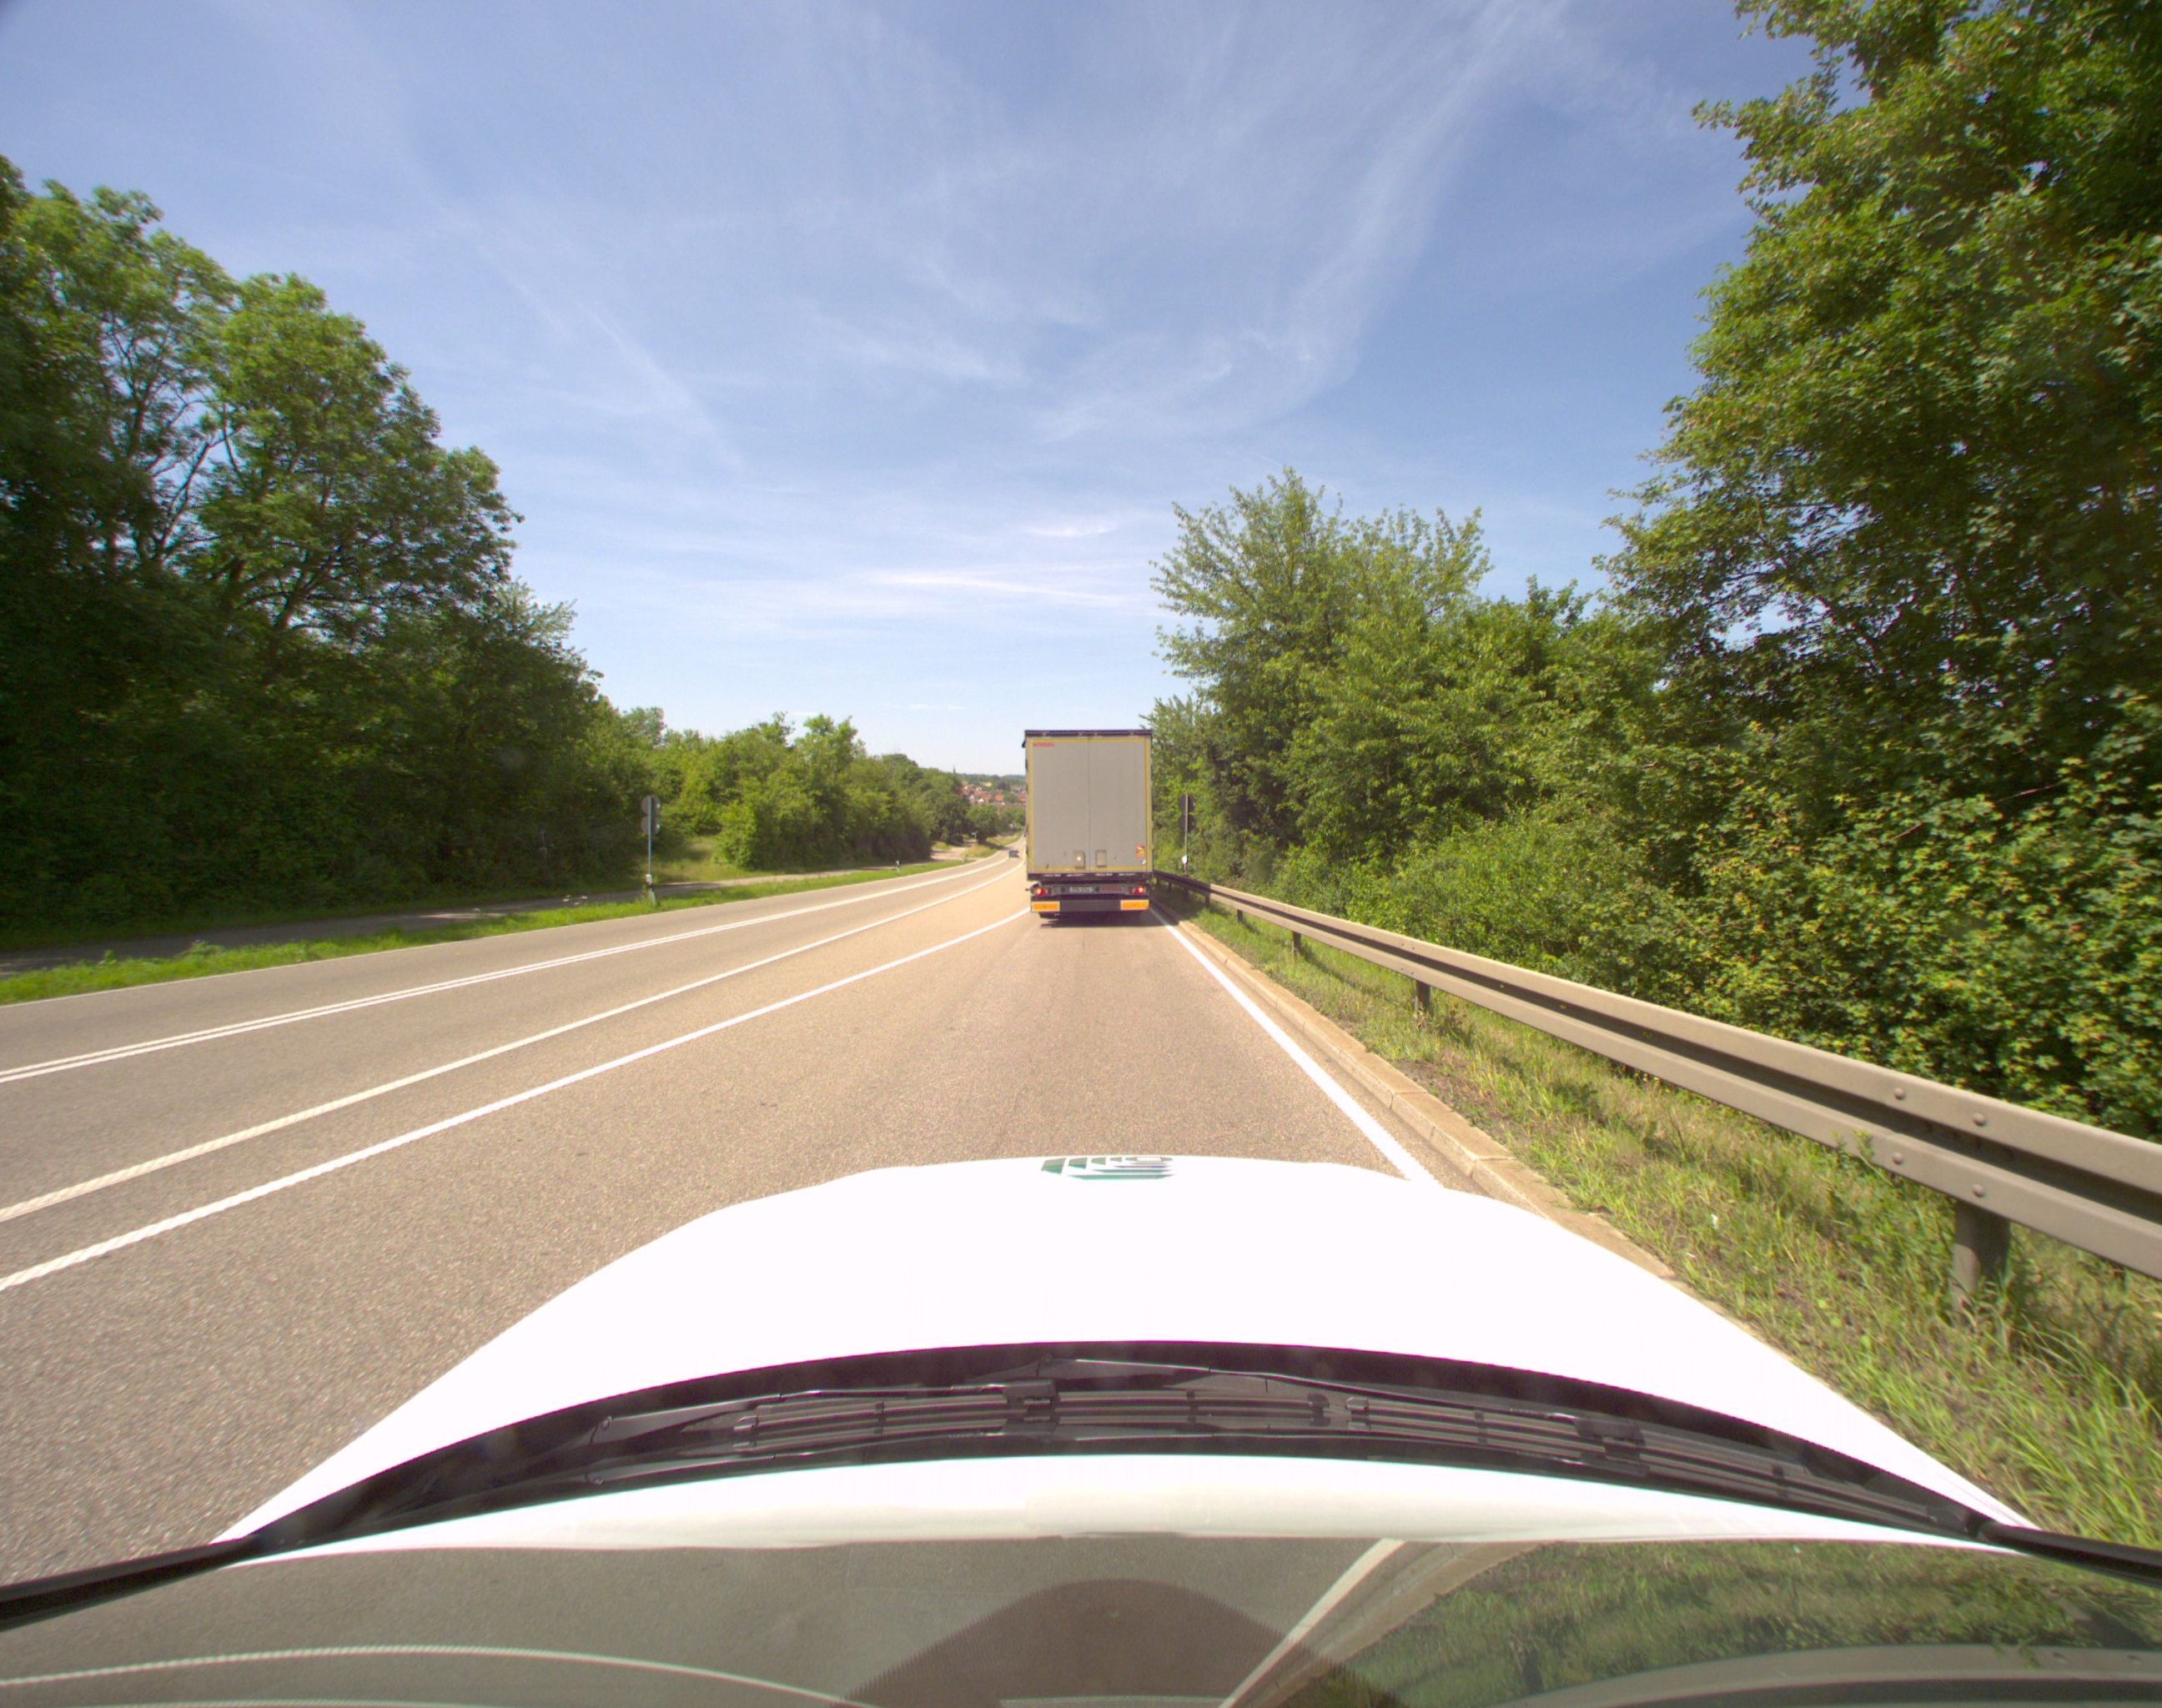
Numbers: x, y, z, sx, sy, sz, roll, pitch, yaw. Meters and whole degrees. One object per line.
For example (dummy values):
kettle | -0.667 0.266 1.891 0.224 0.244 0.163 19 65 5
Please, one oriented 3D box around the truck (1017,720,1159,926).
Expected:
truck | 0.327 -0.642 22.066 2.747 4.029 11.929 -1 0 2

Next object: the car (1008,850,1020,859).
car | -12.963 0.112 157.713 1.808 1.794 3.824 -1 -1 -13
